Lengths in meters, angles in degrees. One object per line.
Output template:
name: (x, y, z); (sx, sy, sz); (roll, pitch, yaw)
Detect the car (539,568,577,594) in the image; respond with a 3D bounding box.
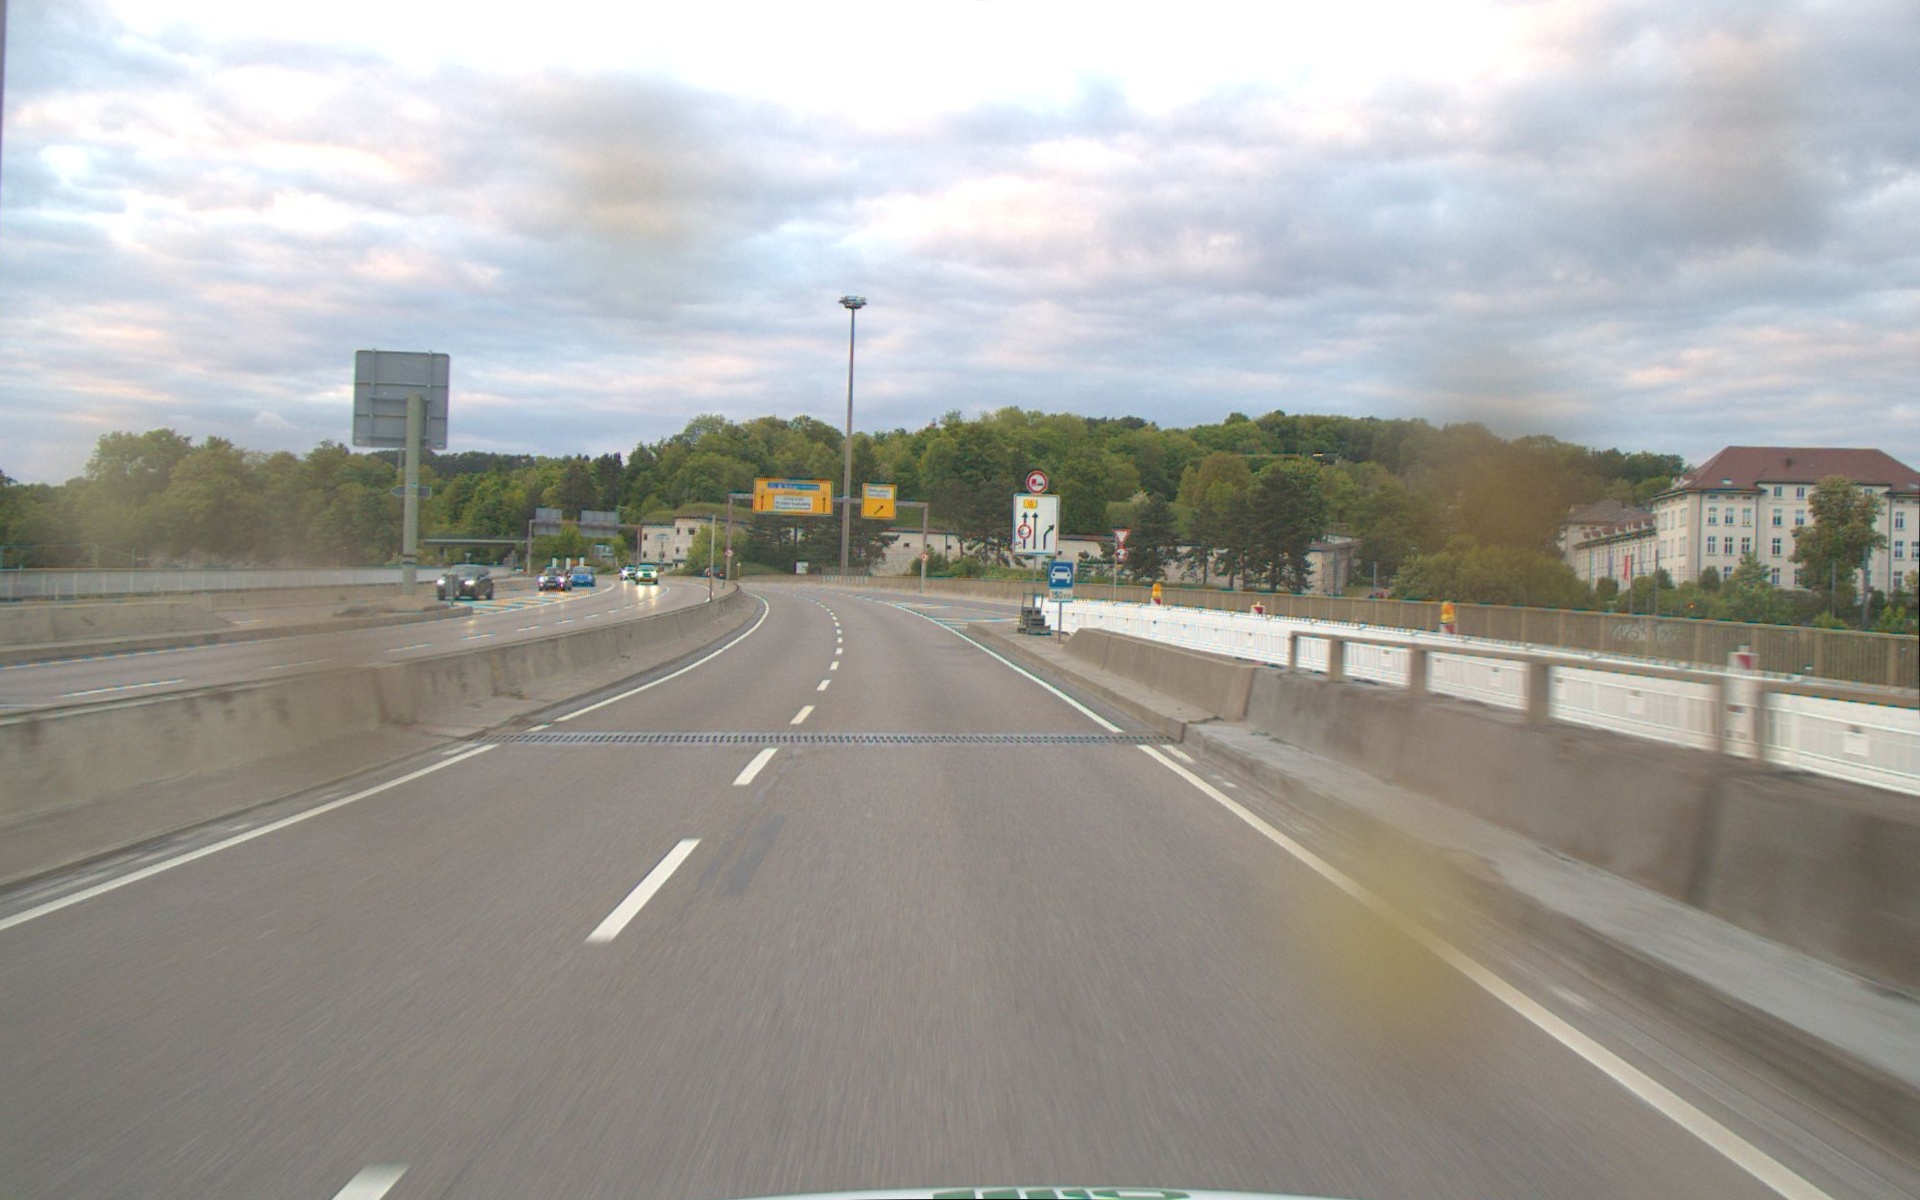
car: (-25.192, -1.206, 103.739); (1.761, 1.512, 3.837); (1, -1, -5)

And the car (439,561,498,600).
car: (-23.244, -0.897, 78.330); (1.603, 1.747, 3.999); (2, 0, -2)

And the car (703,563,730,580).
car: (-27.833, -3.225, 188.708); (2.270, 1.794, 4.239); (3, 0, -19)

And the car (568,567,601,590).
car: (-27.712, -1.576, 122.221); (1.861, 1.623, 4.158); (1, 1, -6)

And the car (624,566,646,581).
car: (-36.260, -2.930, 184.283); (1.784, 1.561, 4.521); (1, 0, -19)

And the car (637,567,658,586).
car: (-25.781, -1.936, 136.420); (1.680, 1.520, 4.070); (2, 0, -11)
